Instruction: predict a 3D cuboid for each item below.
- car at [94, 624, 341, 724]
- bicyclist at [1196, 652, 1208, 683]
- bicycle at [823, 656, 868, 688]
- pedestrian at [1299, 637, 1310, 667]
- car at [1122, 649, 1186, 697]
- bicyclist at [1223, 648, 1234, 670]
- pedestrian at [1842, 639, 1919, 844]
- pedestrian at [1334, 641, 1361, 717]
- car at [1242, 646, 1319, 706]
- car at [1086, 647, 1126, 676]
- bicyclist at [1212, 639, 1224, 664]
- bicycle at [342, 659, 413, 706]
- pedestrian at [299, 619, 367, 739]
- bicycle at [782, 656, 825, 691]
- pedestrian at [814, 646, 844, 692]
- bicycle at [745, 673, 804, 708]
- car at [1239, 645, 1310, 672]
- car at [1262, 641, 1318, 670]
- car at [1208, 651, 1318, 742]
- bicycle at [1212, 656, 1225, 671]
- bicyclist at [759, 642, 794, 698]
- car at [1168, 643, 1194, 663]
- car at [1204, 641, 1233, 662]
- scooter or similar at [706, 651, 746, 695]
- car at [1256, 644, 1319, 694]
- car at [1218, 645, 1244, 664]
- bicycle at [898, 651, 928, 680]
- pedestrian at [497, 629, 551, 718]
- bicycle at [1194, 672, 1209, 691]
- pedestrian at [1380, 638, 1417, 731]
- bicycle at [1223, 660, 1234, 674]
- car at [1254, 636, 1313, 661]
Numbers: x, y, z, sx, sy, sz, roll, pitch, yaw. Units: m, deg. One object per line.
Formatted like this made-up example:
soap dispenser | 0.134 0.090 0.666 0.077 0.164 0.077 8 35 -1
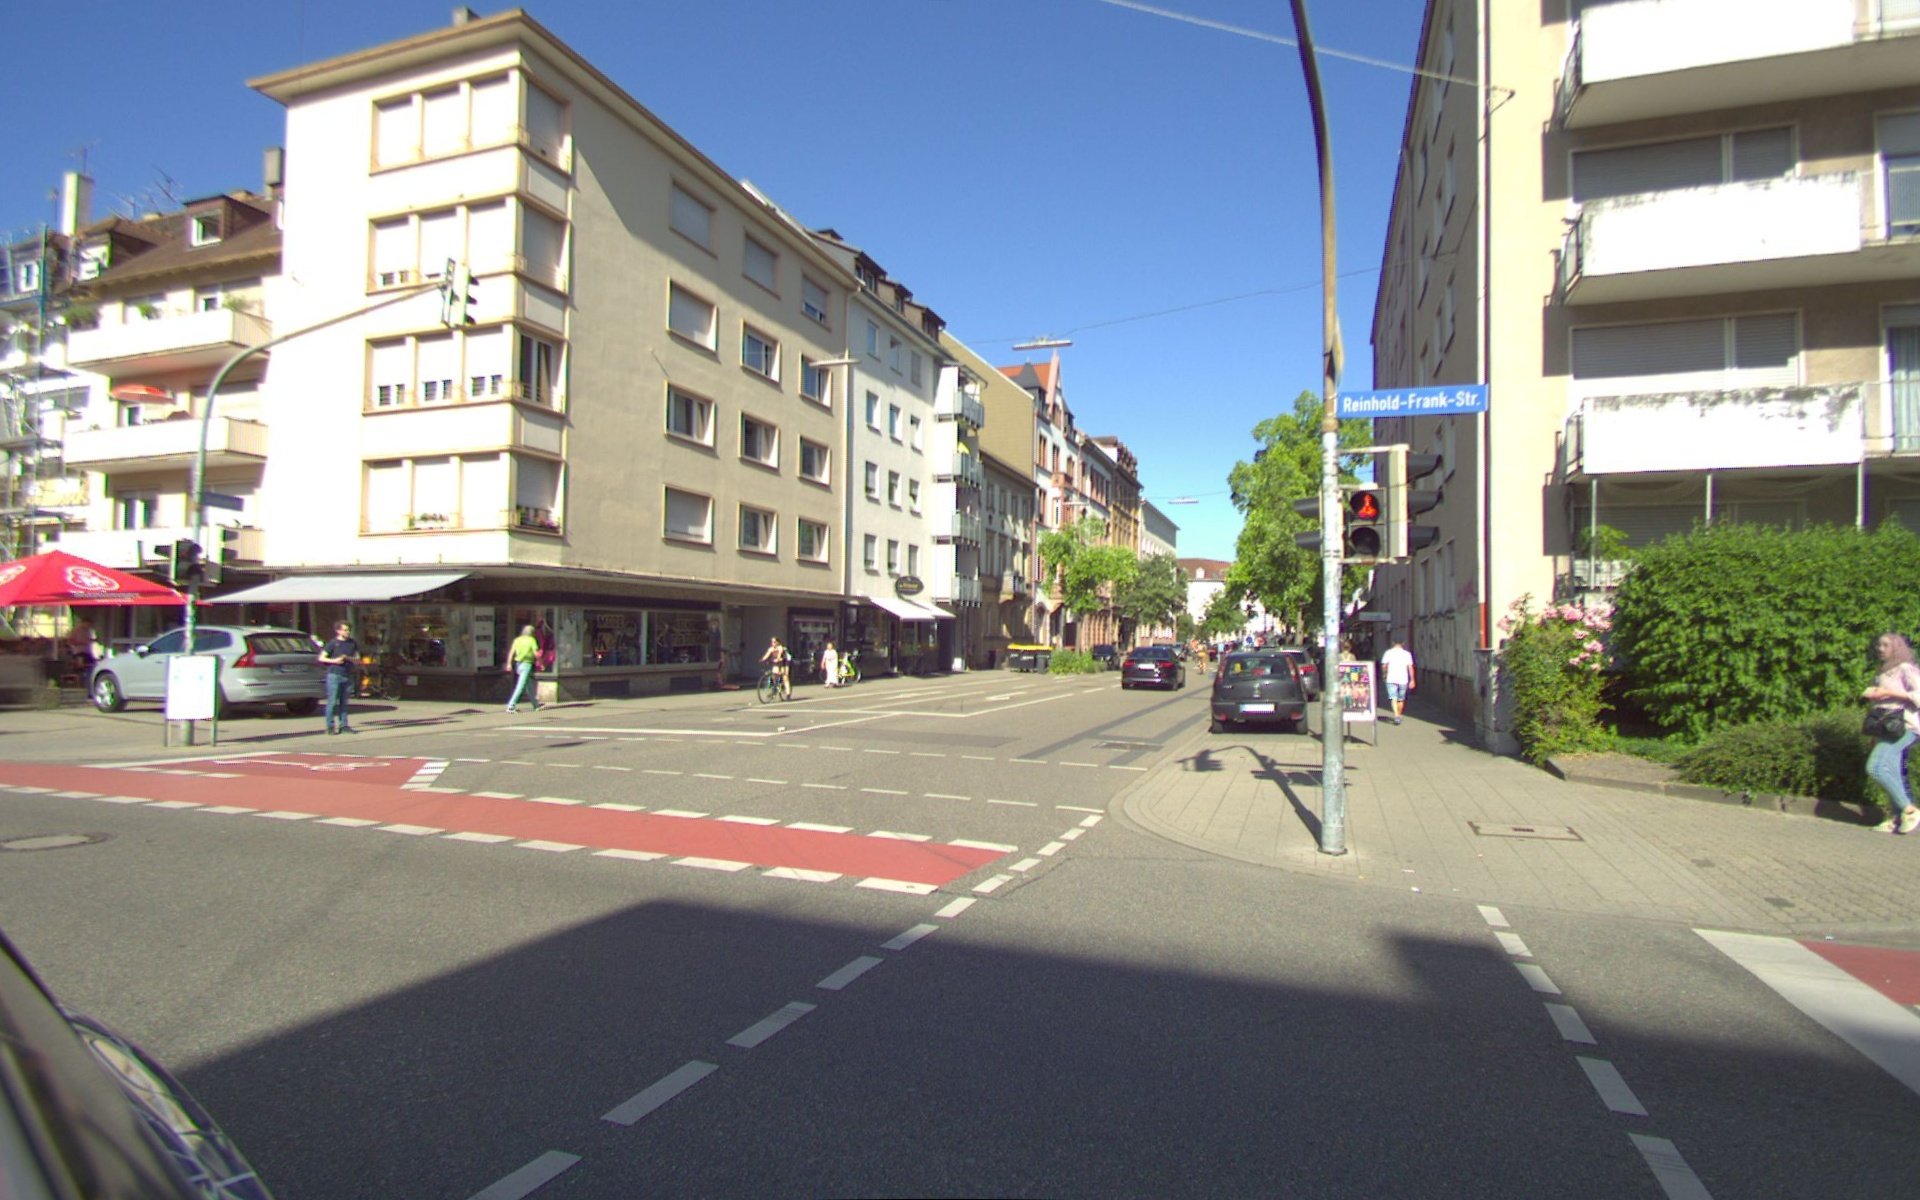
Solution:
car | -13.801 1.317 18.831 3.971 1.675 1.813 0 -3 21
bicyclist | 12.138 3.385 50.739 0.540 1.532 0.769 0 -3 20
bicycle | -4.008 2.510 35.333 1.470 1.115 0.725 1 -3 -12
pedestrian | 21.329 3.217 62.664 0.619 1.820 0.499 -1 -3 21
car | 6.621 2.416 34.262 1.794 1.423 4.403 2 -2 15
bicyclist | 20.186 4.412 76.137 0.677 1.588 0.893 1 -2 20
pedestrian | 7.794 1.126 8.254 0.643 1.608 0.692 0 -3 18
pedestrian | 8.363 1.693 21.849 0.529 1.594 0.559 0 -3 20
car | 8.963 2.064 28.277 1.814 1.515 4.772 -3 -3 18
car | 8.413 3.516 58.104 1.616 1.608 3.523 0 -3 19
bicyclist | 17.285 3.457 67.687 0.677 1.643 0.893 -1 -3 20
bicycle | -13.416 1.879 23.285 1.888 1.025 0.561 -1 -3 32
pedestrian | -9.882 1.234 15.973 0.621 1.836 0.605 0 -3 5
bicycle | -5.108 2.398 33.160 0.405 1.093 1.785 2 -2 25
pedestrian | -4.221 2.208 32.615 0.769 1.453 0.622 0 -3 15
bicycle | -4.643 2.260 25.421 0.579 0.812 1.695 -1 -3 24
car | 19.177 3.550 61.746 3.974 1.564 1.898 0 -3 23
car | 24.381 4.081 74.773 3.853 2.058 1.898 0 -3 22
car | 5.590 1.694 18.573 1.683 1.459 3.833 -3 -3 18
bicycle | 17.256 4.225 67.588 0.677 0.959 1.921 -1 -3 20
bicyclist | -4.621 1.751 25.475 0.579 1.387 0.659 -1 -3 25
car | 17.799 4.240 81.277 1.616 1.608 3.523 0 -3 19
car | 20.348 4.057 79.689 1.898 1.564 3.974 0 -3 19
scooter or similar | -6.663 2.070 28.890 0.523 1.234 1.220 0 -3 20
car | 11.045 2.287 34.139 1.814 1.515 4.772 -3 -3 18
car | 23.167 4.674 86.490 1.898 1.564 3.974 0 -3 19
bicycle | -1.981 2.765 42.762 0.594 1.152 1.762 3 -2 20
pedestrian | -8.959 1.495 20.818 0.660 1.771 0.756 -1 -3 25
bicycle | 12.096 4.056 50.584 0.540 0.909 1.814 0 -3 19
pedestrian | 8.278 1.577 19.123 0.570 1.702 0.665 0 -3 20
bicycle | 20.231 5.062 76.276 0.677 0.959 1.921 1 -2 20
car | 32.333 4.874 101.283 5.515 2.411 1.967 0 -3 18
